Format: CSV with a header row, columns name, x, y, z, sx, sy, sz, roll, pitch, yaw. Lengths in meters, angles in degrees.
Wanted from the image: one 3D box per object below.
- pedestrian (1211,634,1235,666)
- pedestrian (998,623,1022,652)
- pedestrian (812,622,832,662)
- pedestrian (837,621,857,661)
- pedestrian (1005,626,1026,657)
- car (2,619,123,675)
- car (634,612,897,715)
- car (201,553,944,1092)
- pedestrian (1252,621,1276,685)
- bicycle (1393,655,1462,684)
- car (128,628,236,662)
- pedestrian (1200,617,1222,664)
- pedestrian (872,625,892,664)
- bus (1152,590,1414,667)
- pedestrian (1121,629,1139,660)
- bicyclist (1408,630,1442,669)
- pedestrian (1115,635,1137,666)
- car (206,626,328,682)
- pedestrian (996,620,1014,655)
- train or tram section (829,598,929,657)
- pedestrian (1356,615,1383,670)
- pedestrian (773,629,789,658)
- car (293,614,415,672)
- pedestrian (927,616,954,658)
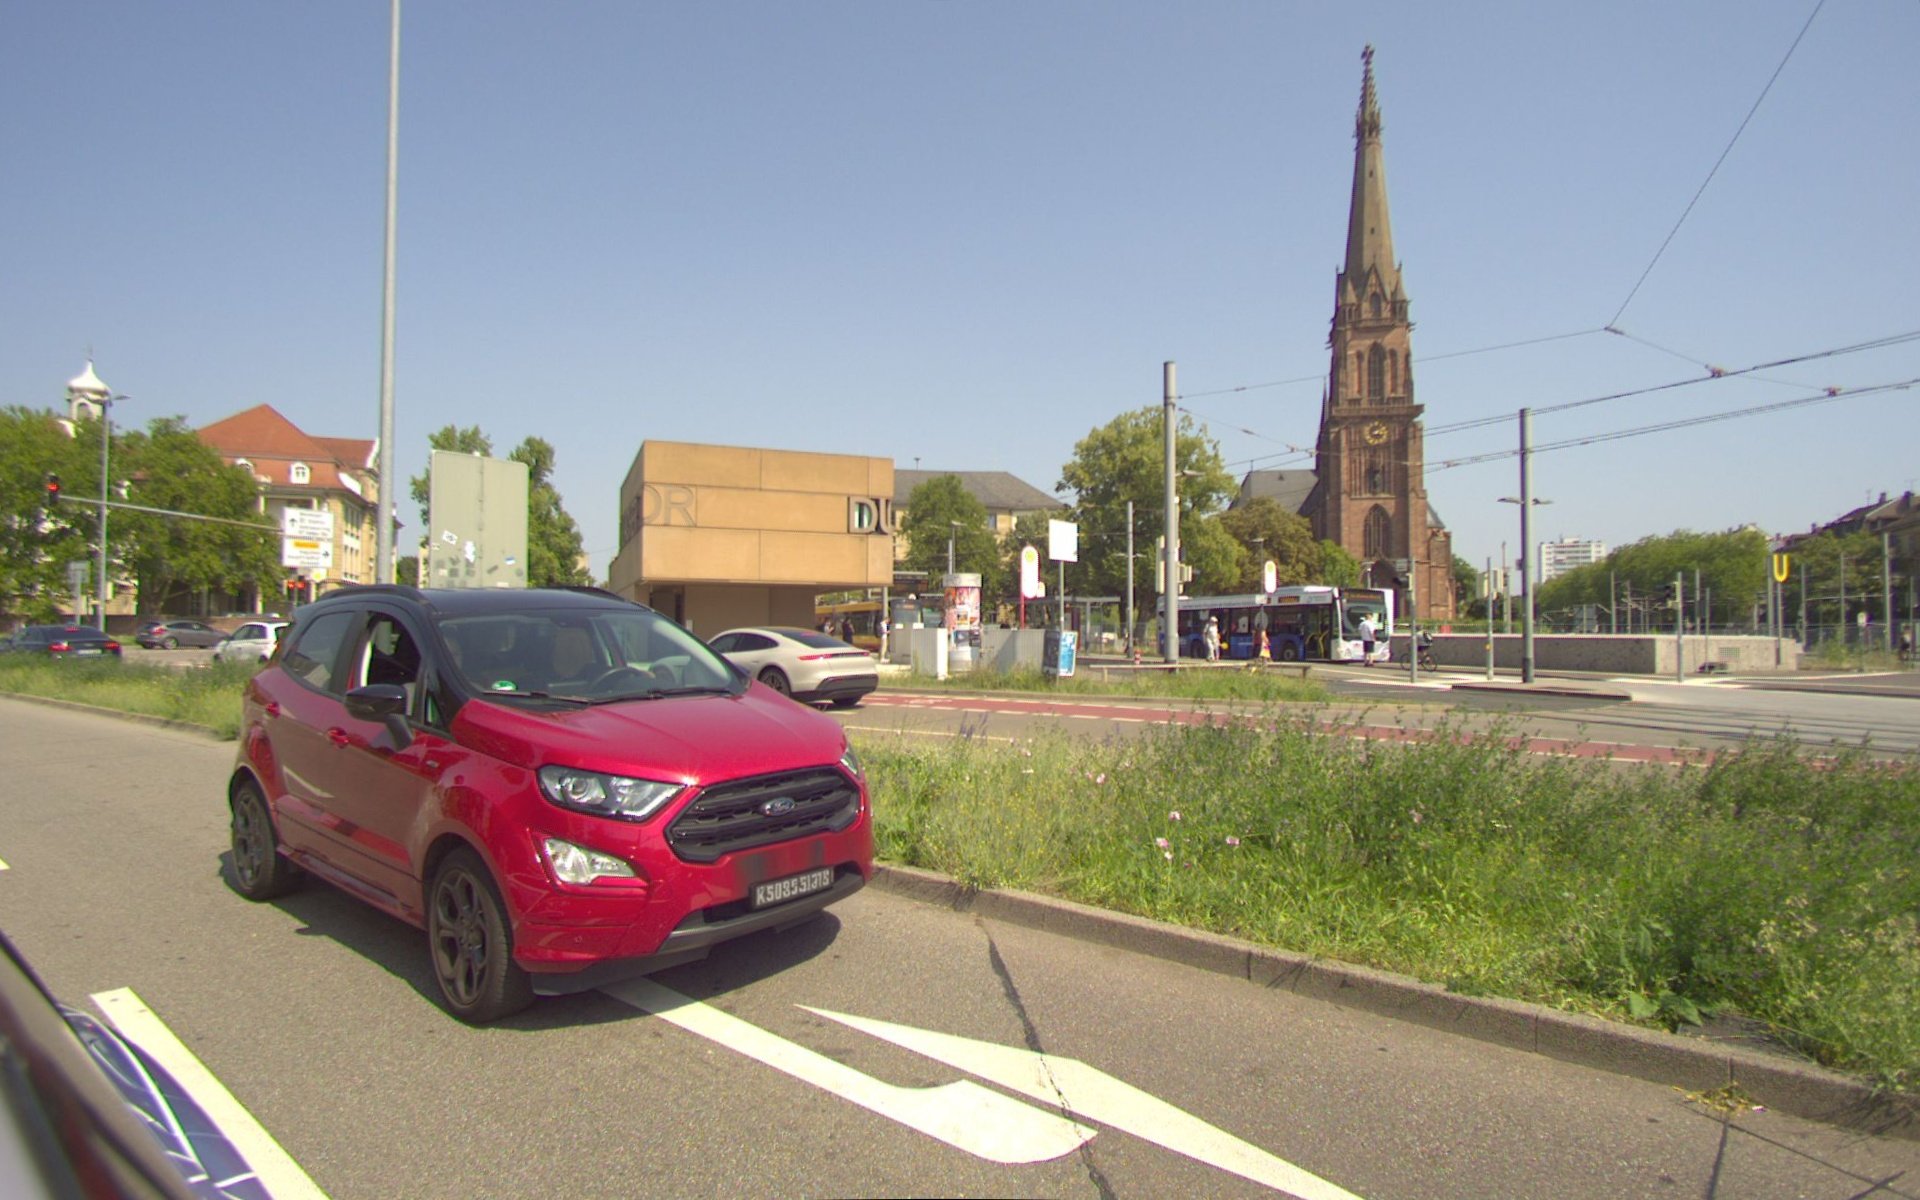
name,x,y,z,sx,sy,sz,roll,pitch,yaw
pedestrian,9.923,1.881,38.166,0.627,1.134,0.603,-1,0,-14
pedestrian,2.936,2.215,59.952,1.060,1.709,1.068,1,-2,-22
pedestrian,-5.226,1.587,38.330,0.541,1.508,0.532,-1,-3,39
pedestrian,-4.362,1.577,39.138,0.541,1.508,0.532,-1,-3,39
pedestrian,3.272,2.455,60.029,0.913,1.837,0.940,1,-2,-22
car,-24.406,1.249,27.506,3.465,1.437,1.510,-1,-2,32
car,-3.529,1.062,17.981,4.707,1.597,1.975,-1,-2,37
car,-2.084,0.695,4.884,3.841,1.598,1.673,-2,-1,39
pedestrian,8.804,1.535,29.353,0.632,1.825,0.599,-1,0,15
bicycle,17.918,2.649,38.865,0.945,1.050,2.369,1,-2,-22
car,-39.269,2.240,51.197,1.789,1.630,3.967,-1,-2,24
pedestrian,9.365,1.507,37.800,0.527,1.724,0.695,0,-2,-13
pedestrian,-3.037,1.717,39.227,0.541,1.508,0.532,-1,-3,39
bus,12.722,1.210,41.997,3.346,2.733,12.382,1,-2,-21
pedestrian,9.634,2.494,57.283,0.768,1.720,0.697,-2,-3,43
bicyclist,17.880,1.876,38.954,0.644,1.438,1.012,-1,0,-23
pedestrian,9.387,2.860,57.257,0.832,1.709,0.961,1,-2,-22
car,-19.453,1.482,28.398,3.464,1.490,1.510,-1,-2,31
pedestrian,2.376,1.993,53.684,0.792,1.837,0.535,1,-2,-22
train or tram section,-5.575,1.806,66.148,2.658,3.465,13.464,1,-2,-22
pedestrian,14.029,1.441,34.698,0.592,1.825,0.640,-1,0,-37
pedestrian,-7.036,1.714,39.762,0.530,1.108,0.543,1,-2,-18
car,-20.704,1.431,34.552,3.898,1.868,1.851,0,-2,29
pedestrian,-0.696,1.323,36.275,0.605,1.508,0.761,-1,-3,39
